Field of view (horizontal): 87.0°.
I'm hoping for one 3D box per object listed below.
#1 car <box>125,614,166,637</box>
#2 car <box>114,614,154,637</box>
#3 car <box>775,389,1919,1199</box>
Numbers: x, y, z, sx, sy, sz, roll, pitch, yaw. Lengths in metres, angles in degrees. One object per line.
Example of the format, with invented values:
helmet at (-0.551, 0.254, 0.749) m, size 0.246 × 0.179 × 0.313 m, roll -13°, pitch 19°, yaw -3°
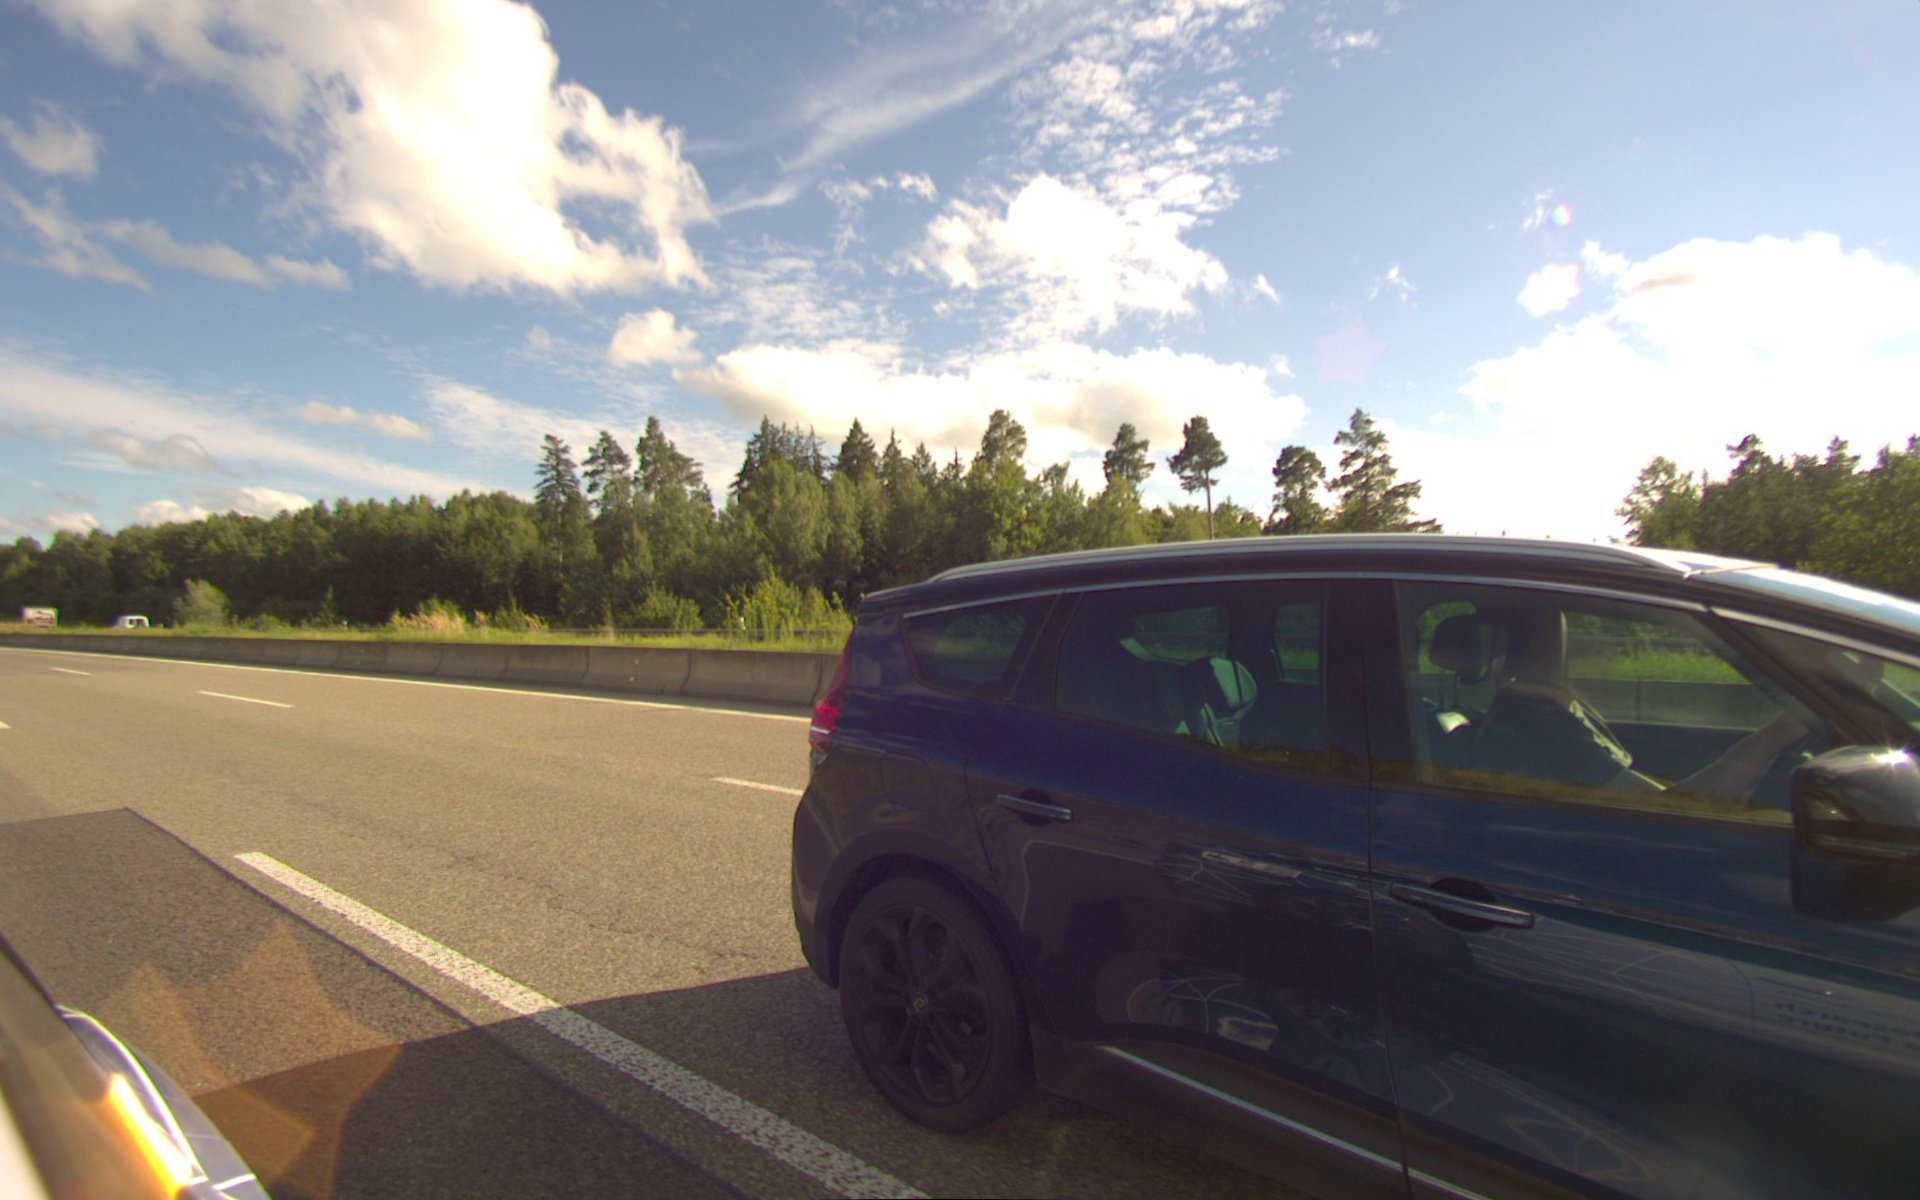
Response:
car at (-73.985, 2.290, 91.917) m, size 5.383 × 2.029 × 1.973 m, roll -2°, pitch -1°, yaw 40°
car at (-77.541, 2.406, 94.940) m, size 5.383 × 2.029 × 1.973 m, roll -2°, pitch -1°, yaw 40°
car at (1.758, 0.565, 2.388) m, size 4.528 × 1.720 × 1.972 m, roll -1°, pitch -1°, yaw 42°
